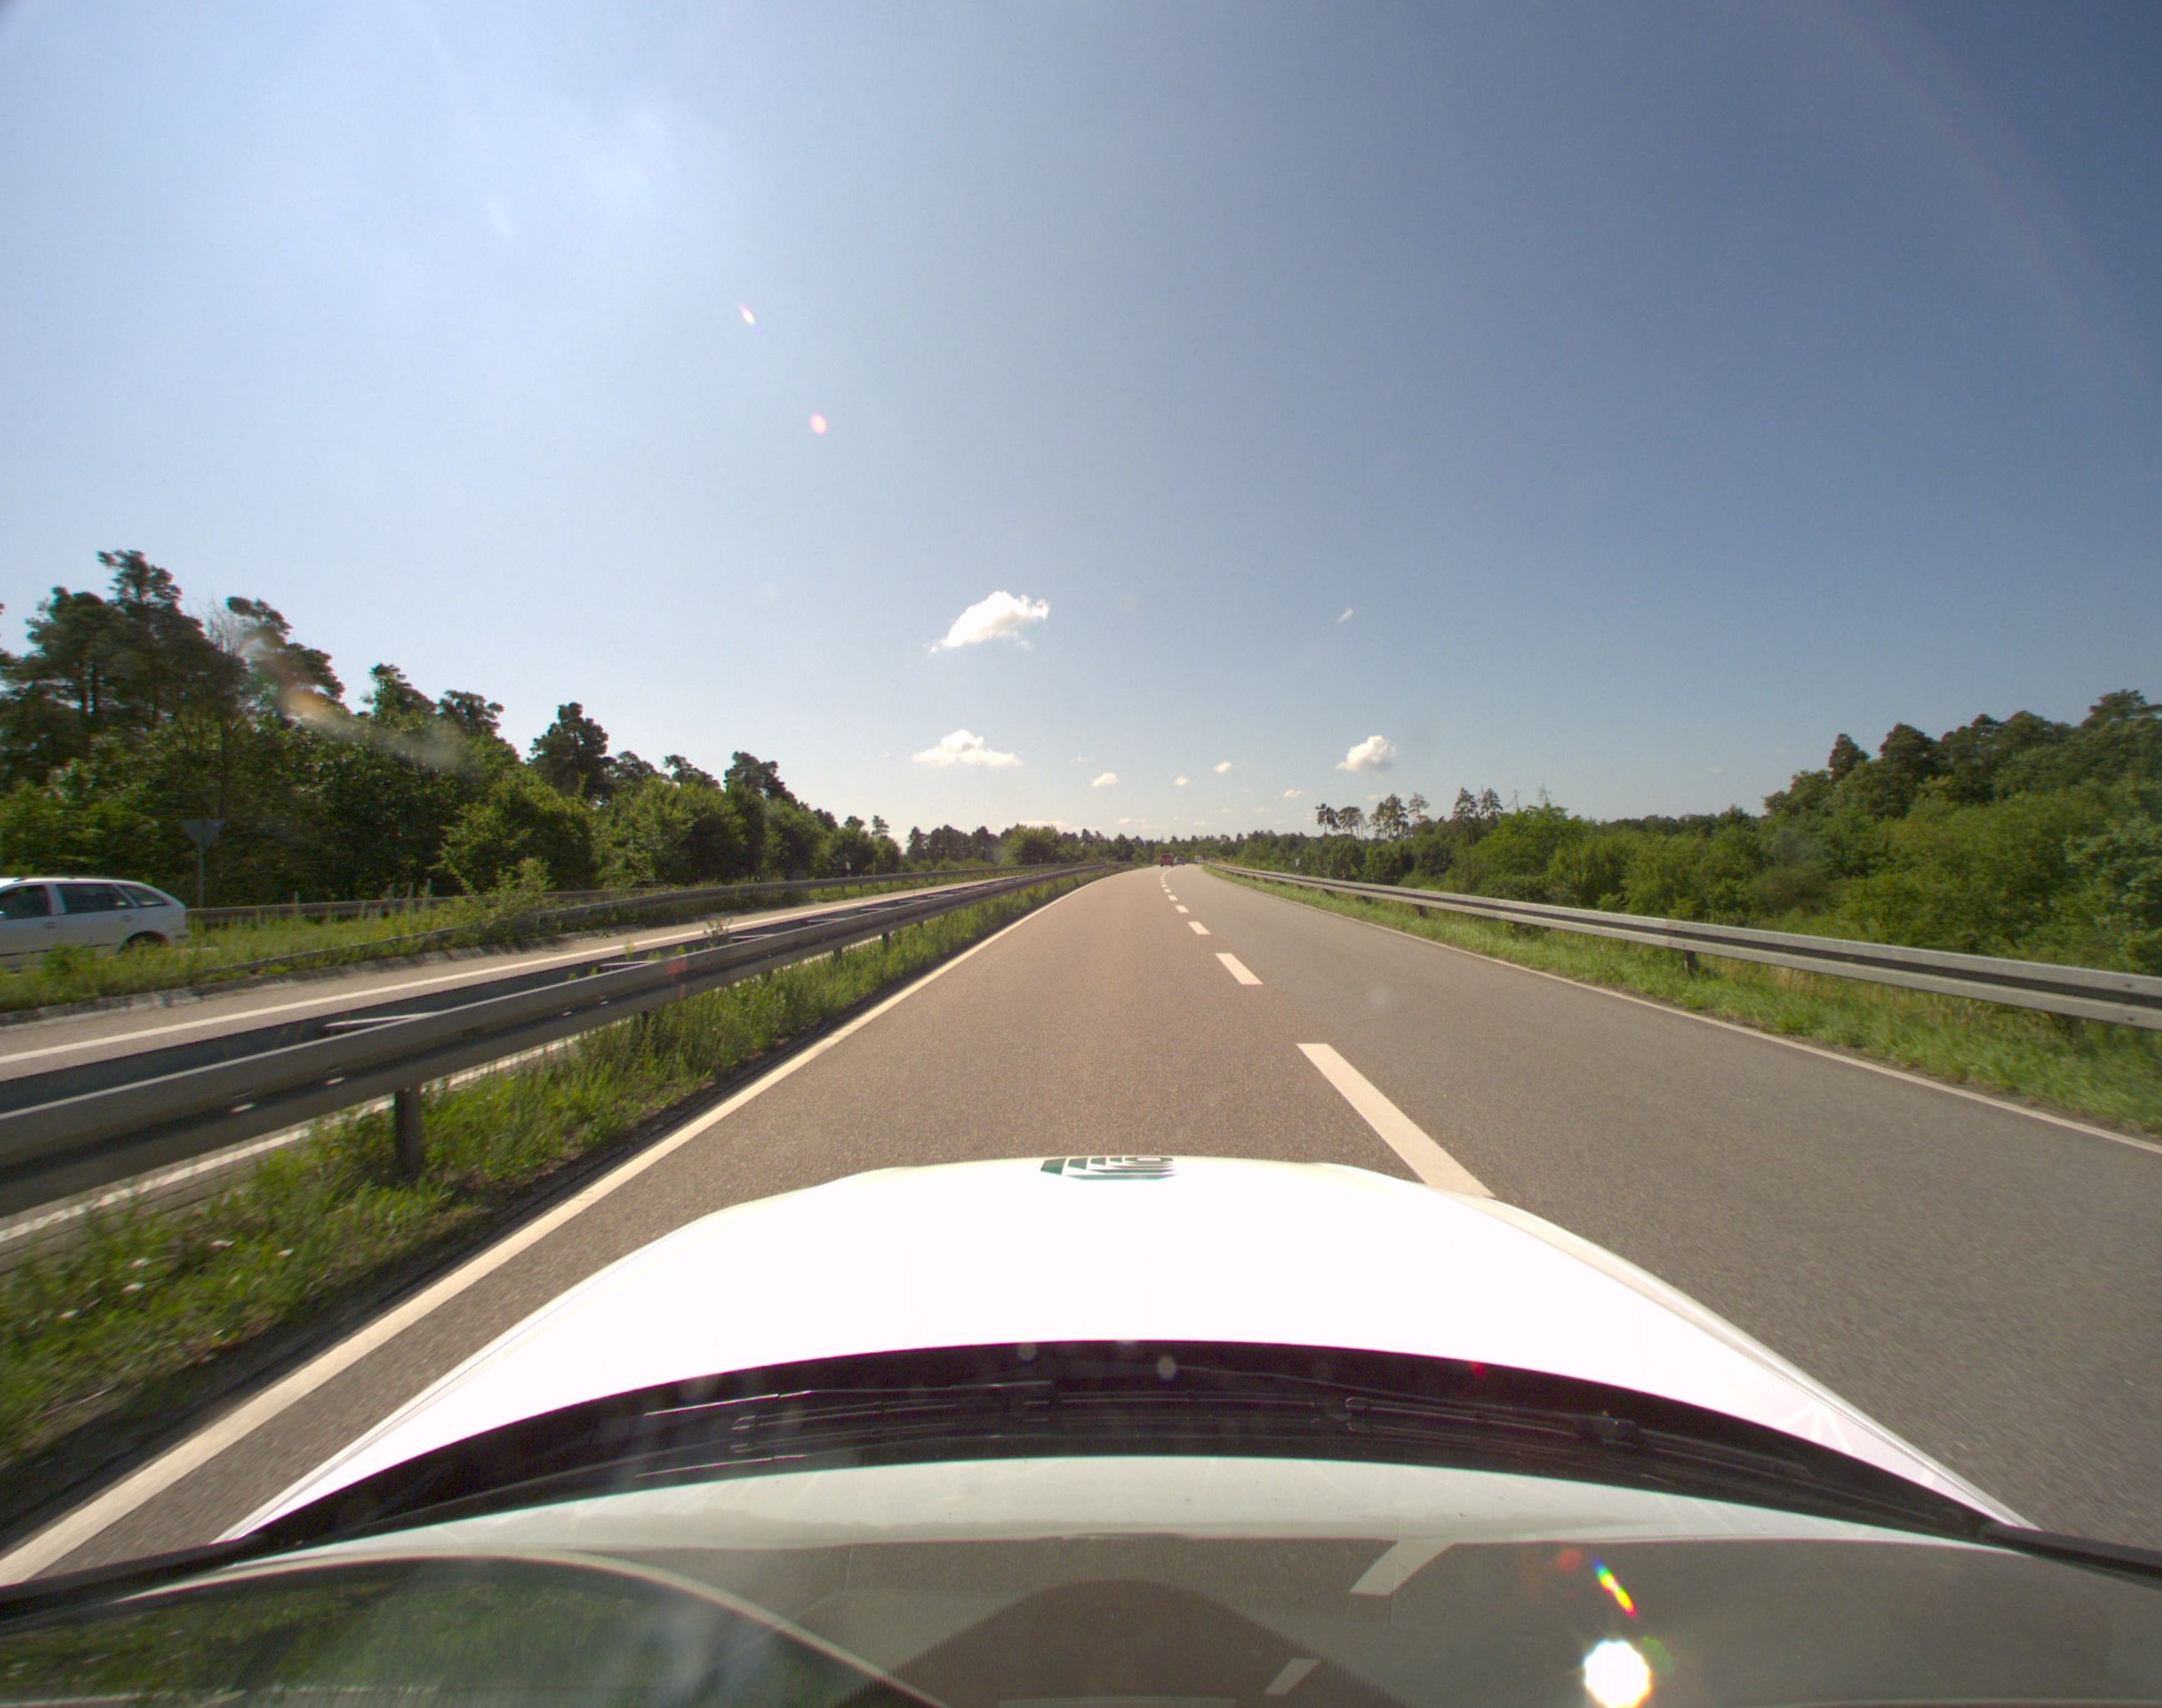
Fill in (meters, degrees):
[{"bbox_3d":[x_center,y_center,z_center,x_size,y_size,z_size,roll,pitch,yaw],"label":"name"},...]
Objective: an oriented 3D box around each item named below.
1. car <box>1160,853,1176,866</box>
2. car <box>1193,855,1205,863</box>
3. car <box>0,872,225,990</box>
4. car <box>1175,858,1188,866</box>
[{"bbox_3d":[13.306,0.898,124.628,2.065,1.993,5.125,0,-1,10],"label":"car"},{"bbox_3d":[28.699,1.246,198.076,2.169,1.955,5.826,0,-1,14],"label":"car"},{"bbox_3d":[-14.680,1.027,11.112,1.675,1.428,4.206,-1,0,-3],"label":"car"},{"bbox_3d":[18.025,1.433,145.992,1.995,1.494,4.249,0,-1,9],"label":"car"}]
